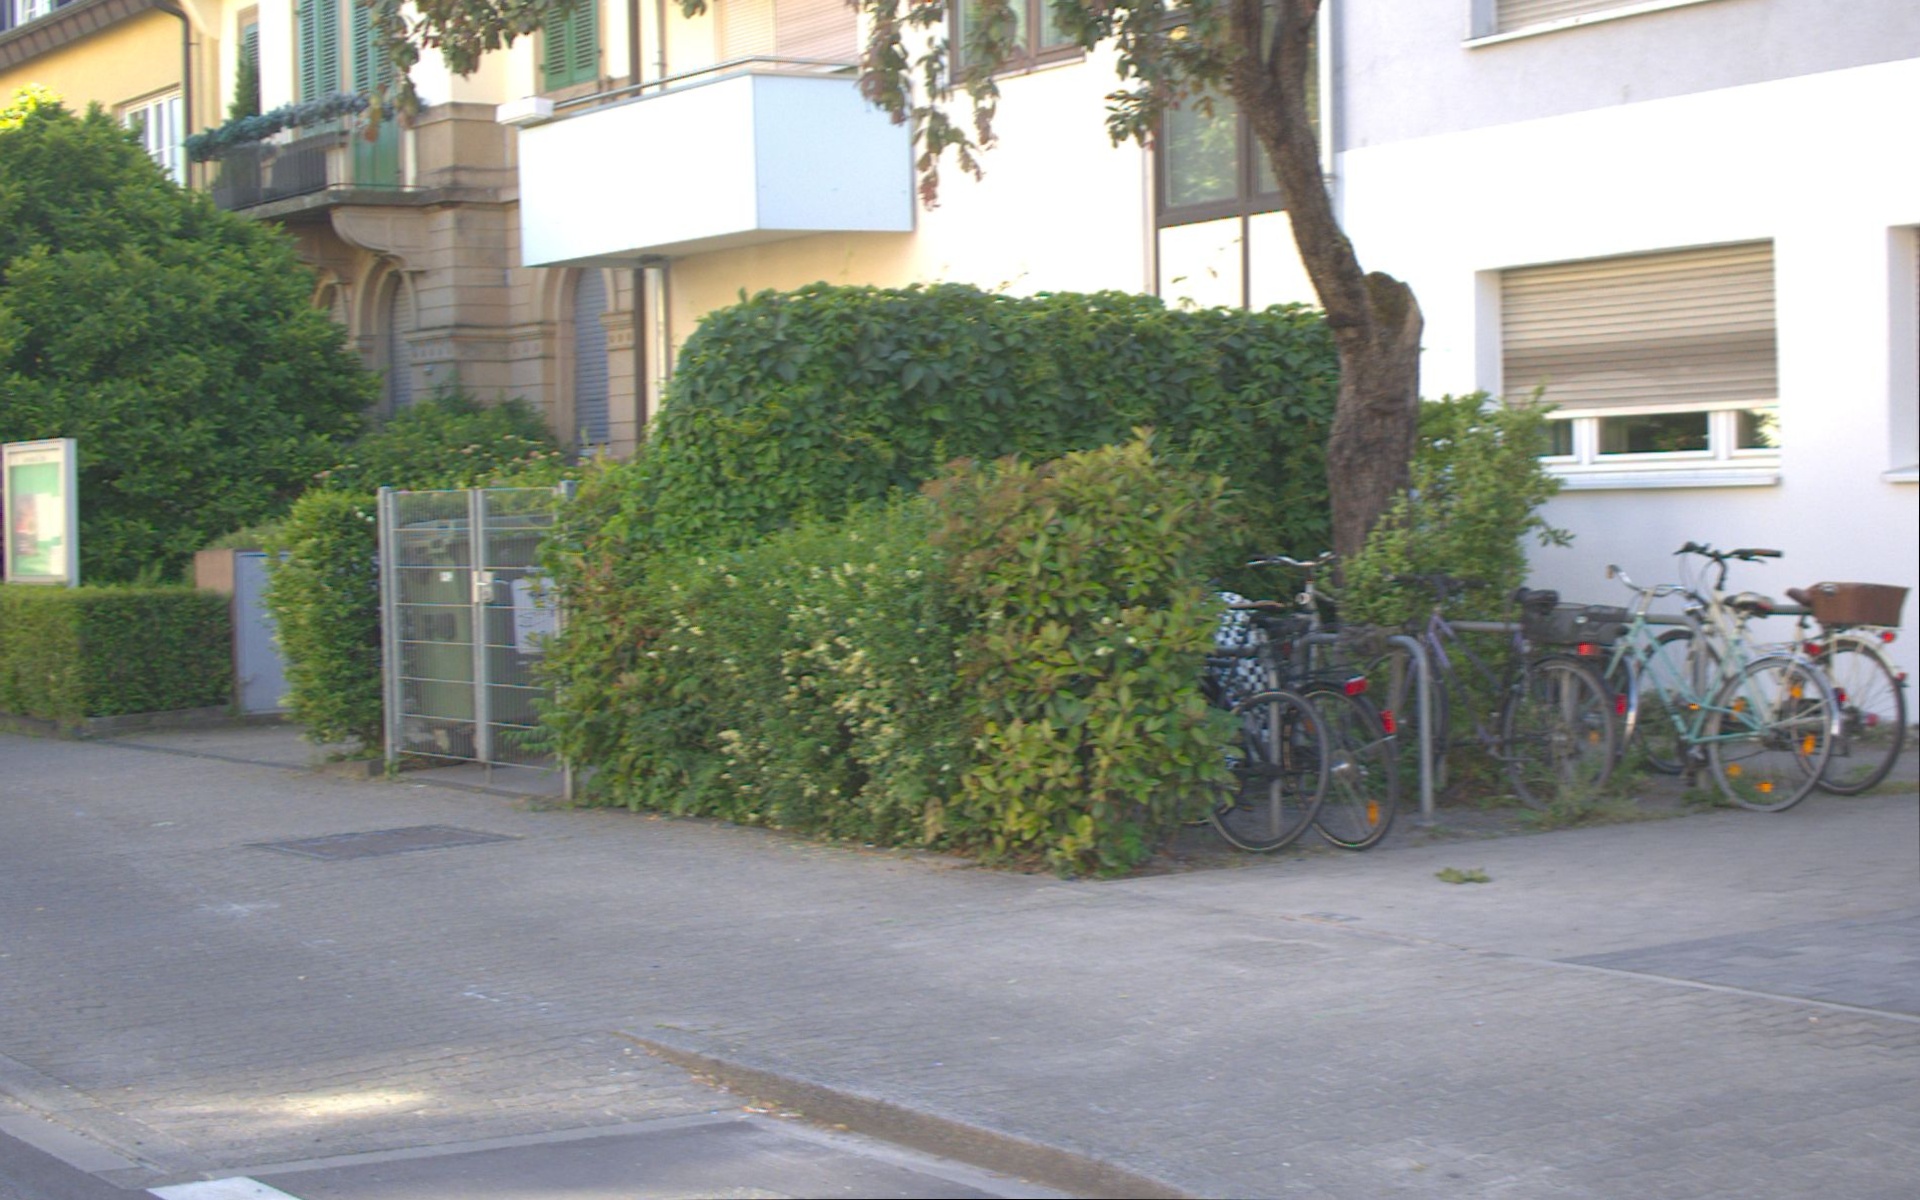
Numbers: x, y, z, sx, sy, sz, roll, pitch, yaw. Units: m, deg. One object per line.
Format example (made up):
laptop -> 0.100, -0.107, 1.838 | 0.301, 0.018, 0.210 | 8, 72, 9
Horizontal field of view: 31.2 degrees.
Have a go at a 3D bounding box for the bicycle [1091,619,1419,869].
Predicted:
bicycle -> 1.198, 0.568, 14.260 | 0.511, 0.937, 1.594 | -2, 2, -30

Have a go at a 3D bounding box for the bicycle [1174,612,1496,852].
bicycle -> 1.584, 0.538, 14.771 | 0.511, 0.937, 1.594 | -2, 2, -30

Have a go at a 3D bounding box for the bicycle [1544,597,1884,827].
bicycle -> 3.311, 0.469, 15.221 | 0.511, 0.937, 1.594 | -2, 2, -30

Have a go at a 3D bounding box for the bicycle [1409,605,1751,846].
bicycle -> 2.623, 0.509, 14.699 | 0.511, 0.937, 1.594 | -2, 2, -30

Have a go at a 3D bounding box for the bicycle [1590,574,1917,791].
bicycle -> 3.659, 0.357, 15.970 | 0.511, 0.937, 1.594 | -2, 2, -30
